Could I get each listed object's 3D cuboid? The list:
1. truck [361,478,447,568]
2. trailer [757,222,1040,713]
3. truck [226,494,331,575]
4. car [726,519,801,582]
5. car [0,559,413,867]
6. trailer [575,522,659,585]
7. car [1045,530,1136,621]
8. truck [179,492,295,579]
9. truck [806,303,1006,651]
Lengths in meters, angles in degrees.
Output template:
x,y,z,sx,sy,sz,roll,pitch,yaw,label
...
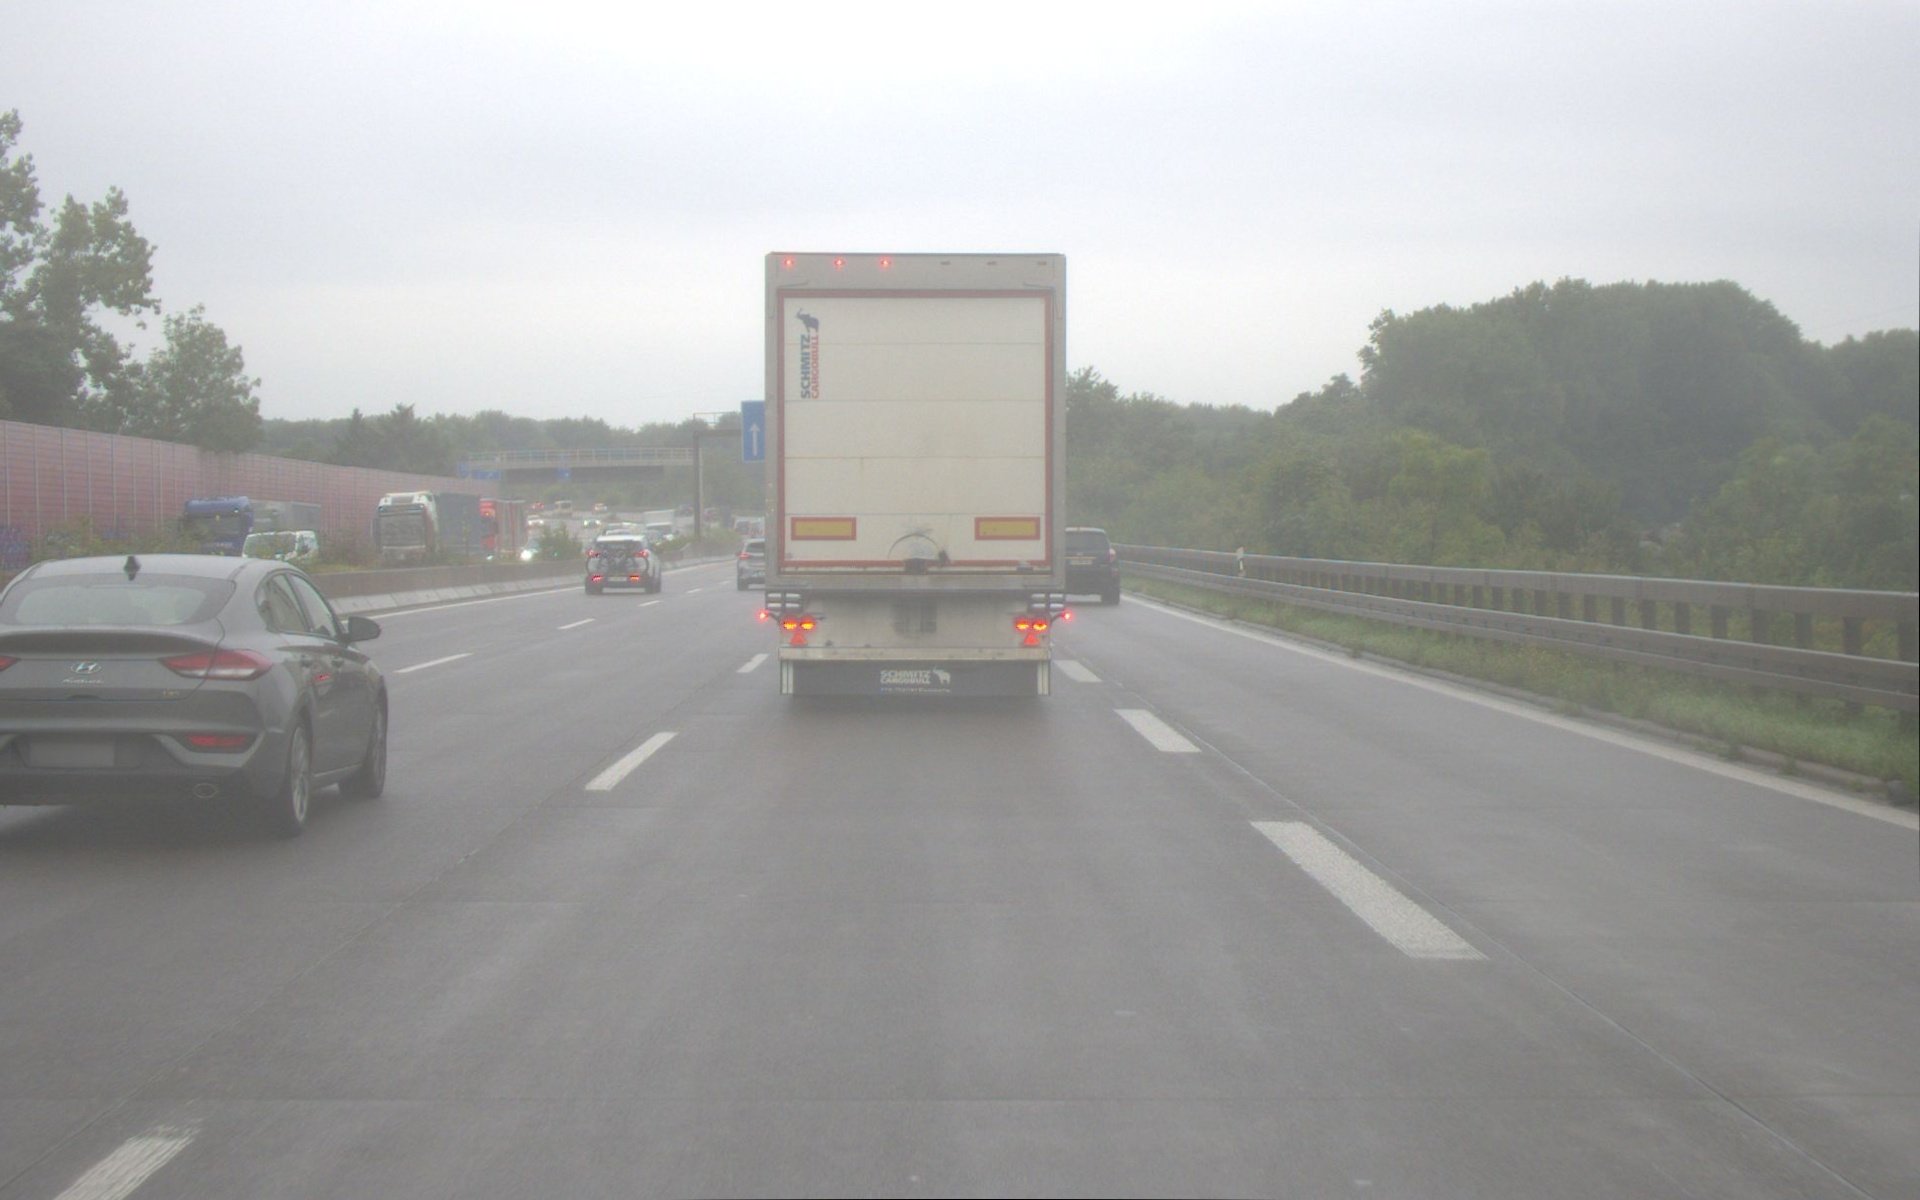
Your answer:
x,y,z,sx,sy,sz,roll,pitch,yaw,label
-25.374,-3.522,157.216,3.046,4.014,6.052,1,1,-1,truck
-0.604,-1.333,36.645,2.342,4.143,14.828,1,2,-1,trailer
-29.373,-2.850,148.538,2.972,3.339,8.701,1,1,-1,truck
-5.521,-1.420,96.917,1.894,1.717,4.000,1,1,-1,car
-4.149,0.497,18.426,1.725,1.398,4.829,0,1,-1,car
-9.121,-1.252,91.666,1.815,1.619,4.568,0,2,-1,trailer
2.883,-0.571,76.522,1.897,1.943,4.000,1,1,1,car
-29.138,-2.639,138.989,2.712,3.339,10.433,1,1,-1,truck
-0.685,-1.565,44.540,2.342,4.143,6.347,1,2,-1,truck
